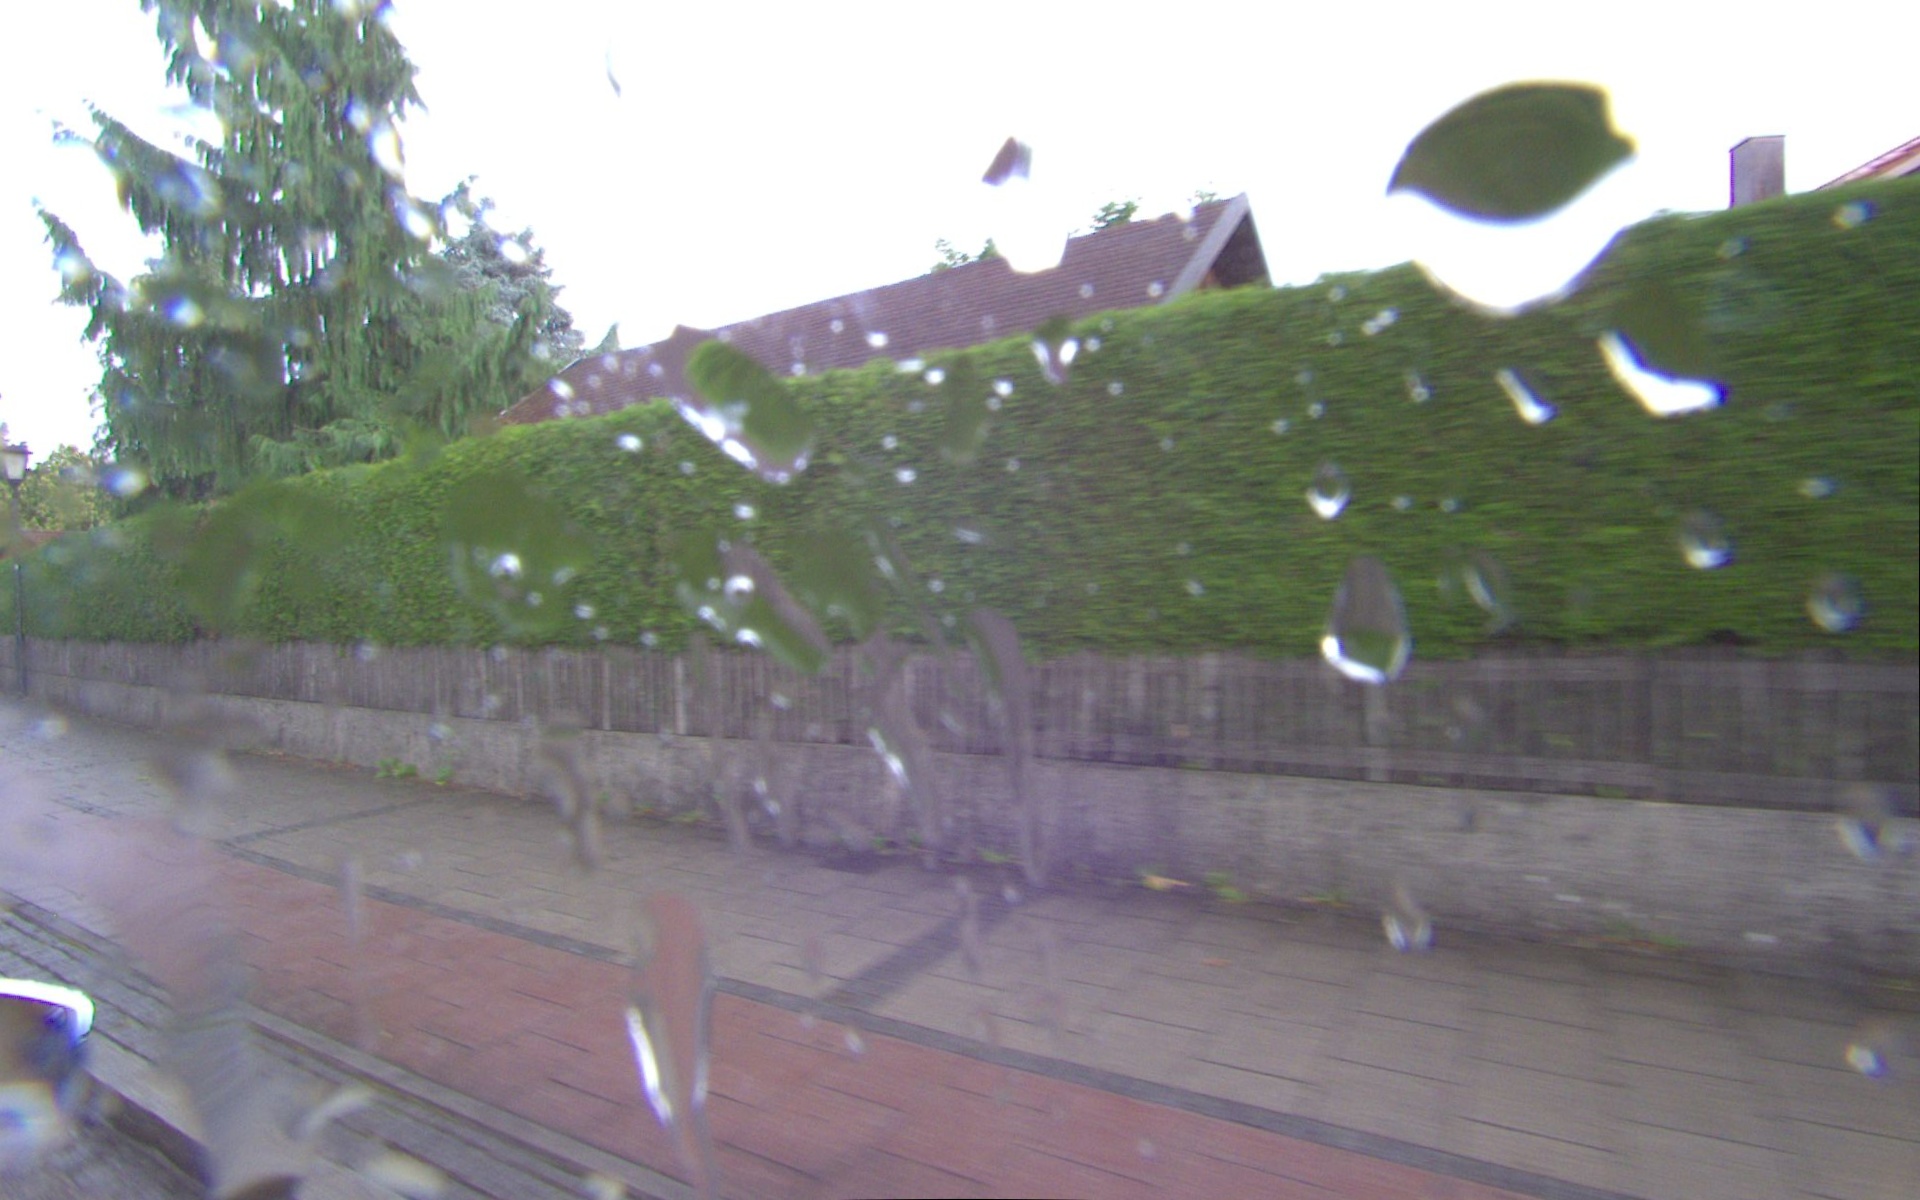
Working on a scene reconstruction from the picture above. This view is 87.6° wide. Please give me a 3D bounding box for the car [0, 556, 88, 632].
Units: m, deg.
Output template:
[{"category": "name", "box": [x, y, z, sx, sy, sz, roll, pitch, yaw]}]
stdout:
[{"category": "car", "box": [-29.710, -0.109, 31.273, 4.874, 2.201, 1.994, -1, -2, 26]}]
